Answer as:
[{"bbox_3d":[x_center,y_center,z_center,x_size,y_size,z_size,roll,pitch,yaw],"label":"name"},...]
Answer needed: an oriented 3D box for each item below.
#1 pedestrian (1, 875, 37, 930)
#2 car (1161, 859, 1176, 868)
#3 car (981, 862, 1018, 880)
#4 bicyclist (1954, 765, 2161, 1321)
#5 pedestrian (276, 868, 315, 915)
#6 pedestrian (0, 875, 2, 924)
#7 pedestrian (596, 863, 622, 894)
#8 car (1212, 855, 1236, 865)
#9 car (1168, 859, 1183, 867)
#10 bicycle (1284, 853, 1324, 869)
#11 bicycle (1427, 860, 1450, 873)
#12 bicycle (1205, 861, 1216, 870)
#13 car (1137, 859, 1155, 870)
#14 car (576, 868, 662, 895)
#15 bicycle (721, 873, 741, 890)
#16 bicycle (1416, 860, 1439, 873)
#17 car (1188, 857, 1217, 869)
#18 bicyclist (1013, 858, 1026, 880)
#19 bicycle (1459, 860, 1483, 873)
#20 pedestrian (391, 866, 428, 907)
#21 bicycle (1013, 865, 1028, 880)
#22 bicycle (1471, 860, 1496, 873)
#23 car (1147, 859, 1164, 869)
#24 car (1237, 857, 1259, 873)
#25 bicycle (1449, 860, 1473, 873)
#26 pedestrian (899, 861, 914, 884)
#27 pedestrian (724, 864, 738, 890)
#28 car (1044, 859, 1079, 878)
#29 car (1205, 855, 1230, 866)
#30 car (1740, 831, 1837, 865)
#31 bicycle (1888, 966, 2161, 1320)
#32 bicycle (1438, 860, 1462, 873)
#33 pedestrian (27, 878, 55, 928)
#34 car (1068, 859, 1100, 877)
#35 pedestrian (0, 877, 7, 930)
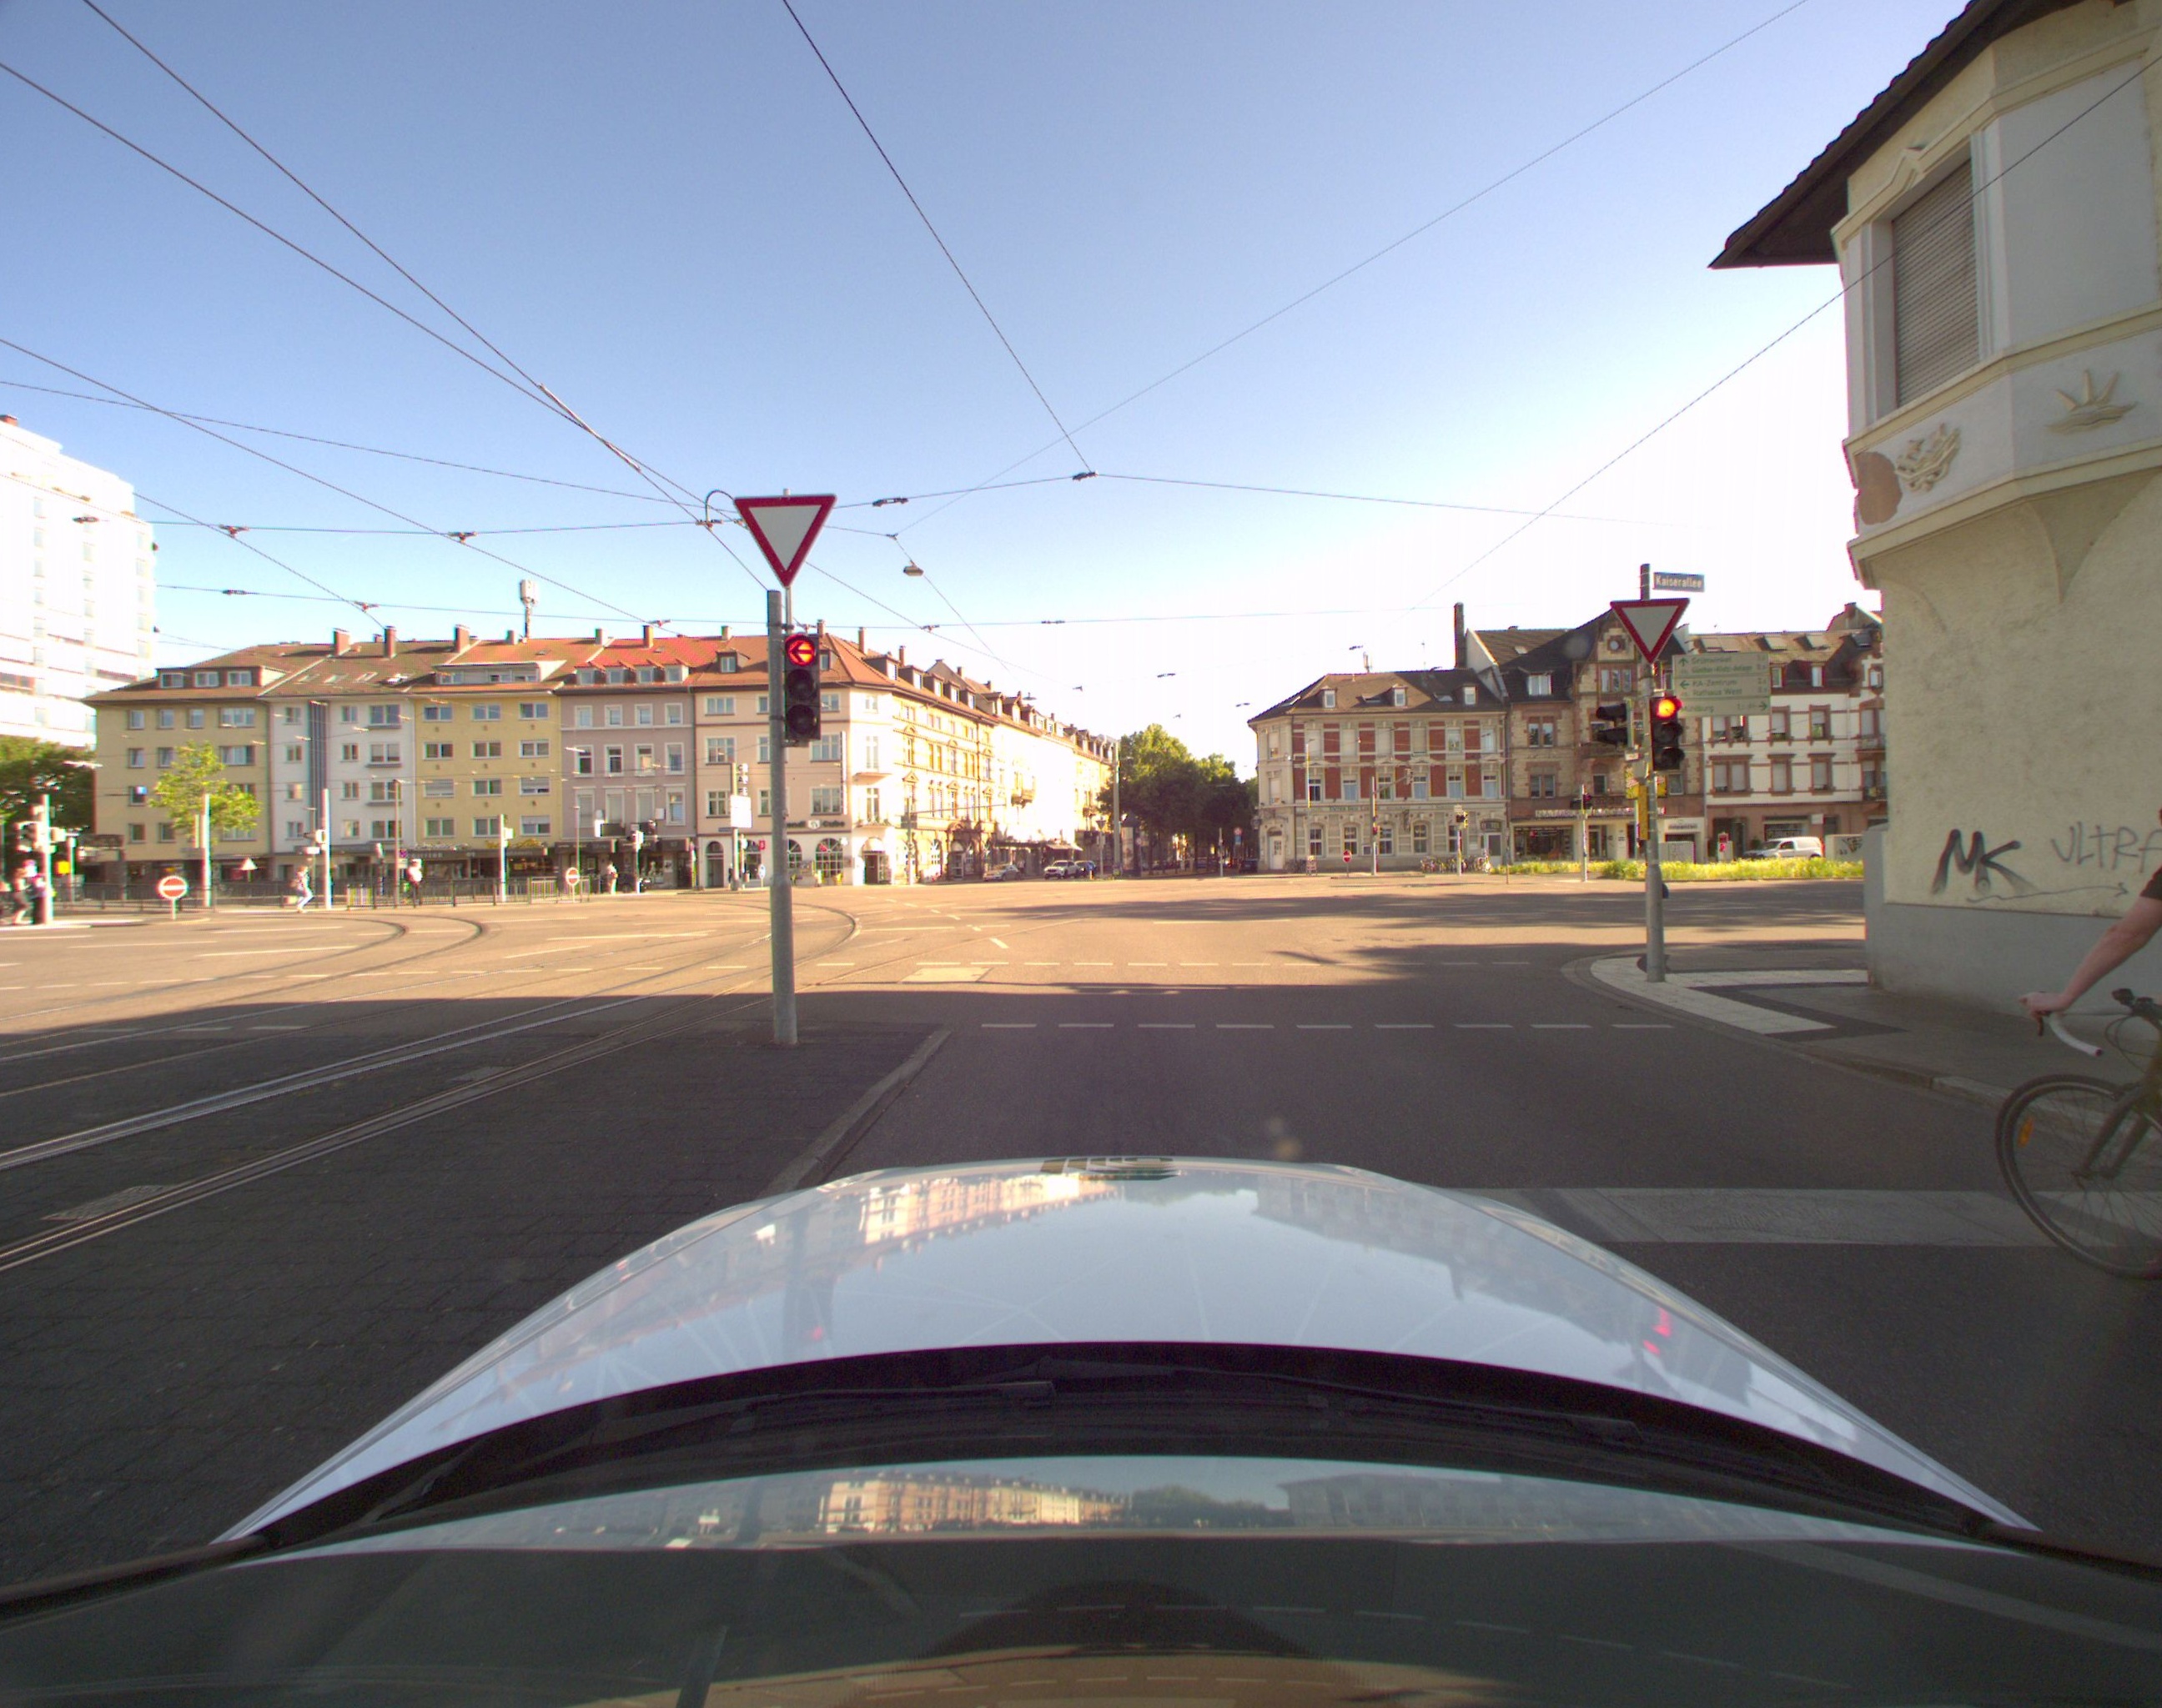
[{"bbox_3d":[-32.915,1.499,25.243,0.456,1.644,0.643,-1,1,38],"label":"pedestrian"},{"bbox_3d":[14.041,1.493,130.611,1.664,1.354,3.608,-2,0,19],"label":"car"},{"bbox_3d":[-6.703,1.420,67.228,1.664,1.354,3.608,-2,0,19],"label":"car"},{"bbox_3d":[3.580,0.575,2.503,0.570,1.701,1.117,-1,0,2],"label":"bicyclist"},{"bbox_3d":[-27.394,1.294,28.402,0.545,1.577,0.838,-1,-1,29],"label":"pedestrian"},{"bbox_3d":[-35.224,1.471,25.980,0.657,1.577,0.889,-1,-1,29],"label":"pedestrian"},{"bbox_3d":[-24.638,1.285,42.539,0.842,1.577,0.836,-1,-1,11],"label":"pedestrian"},{"bbox_3d":[23.363,0.956,133.156,3.549,1.648,1.691,-2,0,19],"label":"car"},{"bbox_3d":[15.728,1.512,135.604,1.664,1.354,3.608,-2,0,19],"label":"car"},{"bbox_3d":[15.610,0.495,57.061,2.547,1.174,0.818,0,-1,-1],"label":"bicycle"},{"bbox_3d":[23.167,0.814,52.757,0.656,0.840,2.162,0,-1,3],"label":"bicycle"},{"bbox_3d":[15.777,1.384,99.282,0.636,1.021,1.839,0,-1,-12],"label":"bicycle"},{"bbox_3d":[9.181,1.484,115.449,1.664,1.354,3.608,-2,0,19],"label":"car"},{"bbox_3d":[-30.359,1.788,53.640,4.347,1.711,2.308,0,-1,4],"label":"car"},{"bbox_3d":[-22.858,1.792,53.195,0.570,1.077,1.497,0,-1,2],"label":"bicycle"},{"bbox_3d":[22.432,0.819,52.699,0.656,0.840,2.162,0,-1,3],"label":"bicycle"},{"bbox_3d":[17.212,1.248,115.457,3.870,1.648,1.691,-2,0,19],"label":"car"},{"bbox_3d":[-4.934,1.205,65.417,0.772,1.803,1.060,-1,-1,16],"label":"bicyclist"},{"bbox_3d":[25.211,0.798,52.704,0.656,0.840,2.162,0,-1,3],"label":"bicycle"},{"bbox_3d":[-26.021,1.242,31.568,0.720,1.577,0.836,-1,-1,11],"label":"pedestrian"},{"bbox_3d":[-4.888,1.480,65.537,0.696,1.118,1.642,-1,-1,16],"label":"bicycle"},{"bbox_3d":[26.014,0.792,52.719,0.656,0.840,2.162,0,-1,3],"label":"bicycle"},{"bbox_3d":[11.250,1.492,122.366,1.664,1.354,3.608,-2,0,19],"label":"car"},{"bbox_3d":[16.911,1.090,82.336,1.664,1.483,3.967,-2,0,19],"label":"car"},{"bbox_3d":[24.574,0.803,52.750,0.656,0.840,2.162,0,-1,3],"label":"bicycle"},{"bbox_3d":[-12.724,1.323,59.419,0.770,1.670,0.834,-1,-1,17],"label":"pedestrian"},{"bbox_3d":[-22.861,1.500,53.193,0.580,1.670,0.753,0,-1,2],"label":"pedestrian"},{"bbox_3d":[-1.598,1.210,67.513,1.664,1.483,3.789,-2,0,19],"label":"car"},{"bbox_3d":[21.457,1.050,127.723,3.549,1.648,1.691,-2,0,19],"label":"car"},{"bbox_3d":[45.449,-0.389,52.403,4.406,2.013,2.002,-1,0,4],"label":"car"},{"bbox_3d":[3.605,0.956,2.511,0.516,0.970,1.750,-1,0,2],"label":"bicycle"},{"bbox_3d":[23.891,0.808,52.743,0.656,0.840,2.162,0,-1,3],"label":"bicycle"},{"bbox_3d":[-31.909,1.498,24.994,0.456,1.505,0.485,-1,1,38],"label":"pedestrian"},{"bbox_3d":[0.314,1.236,73.772,1.664,1.483,3.967,-2,0,19],"label":"car"},{"bbox_3d":[-34.401,1.564,25.713,0.751,1.679,0.563,-2,0,38],"label":"pedestrian"}]
